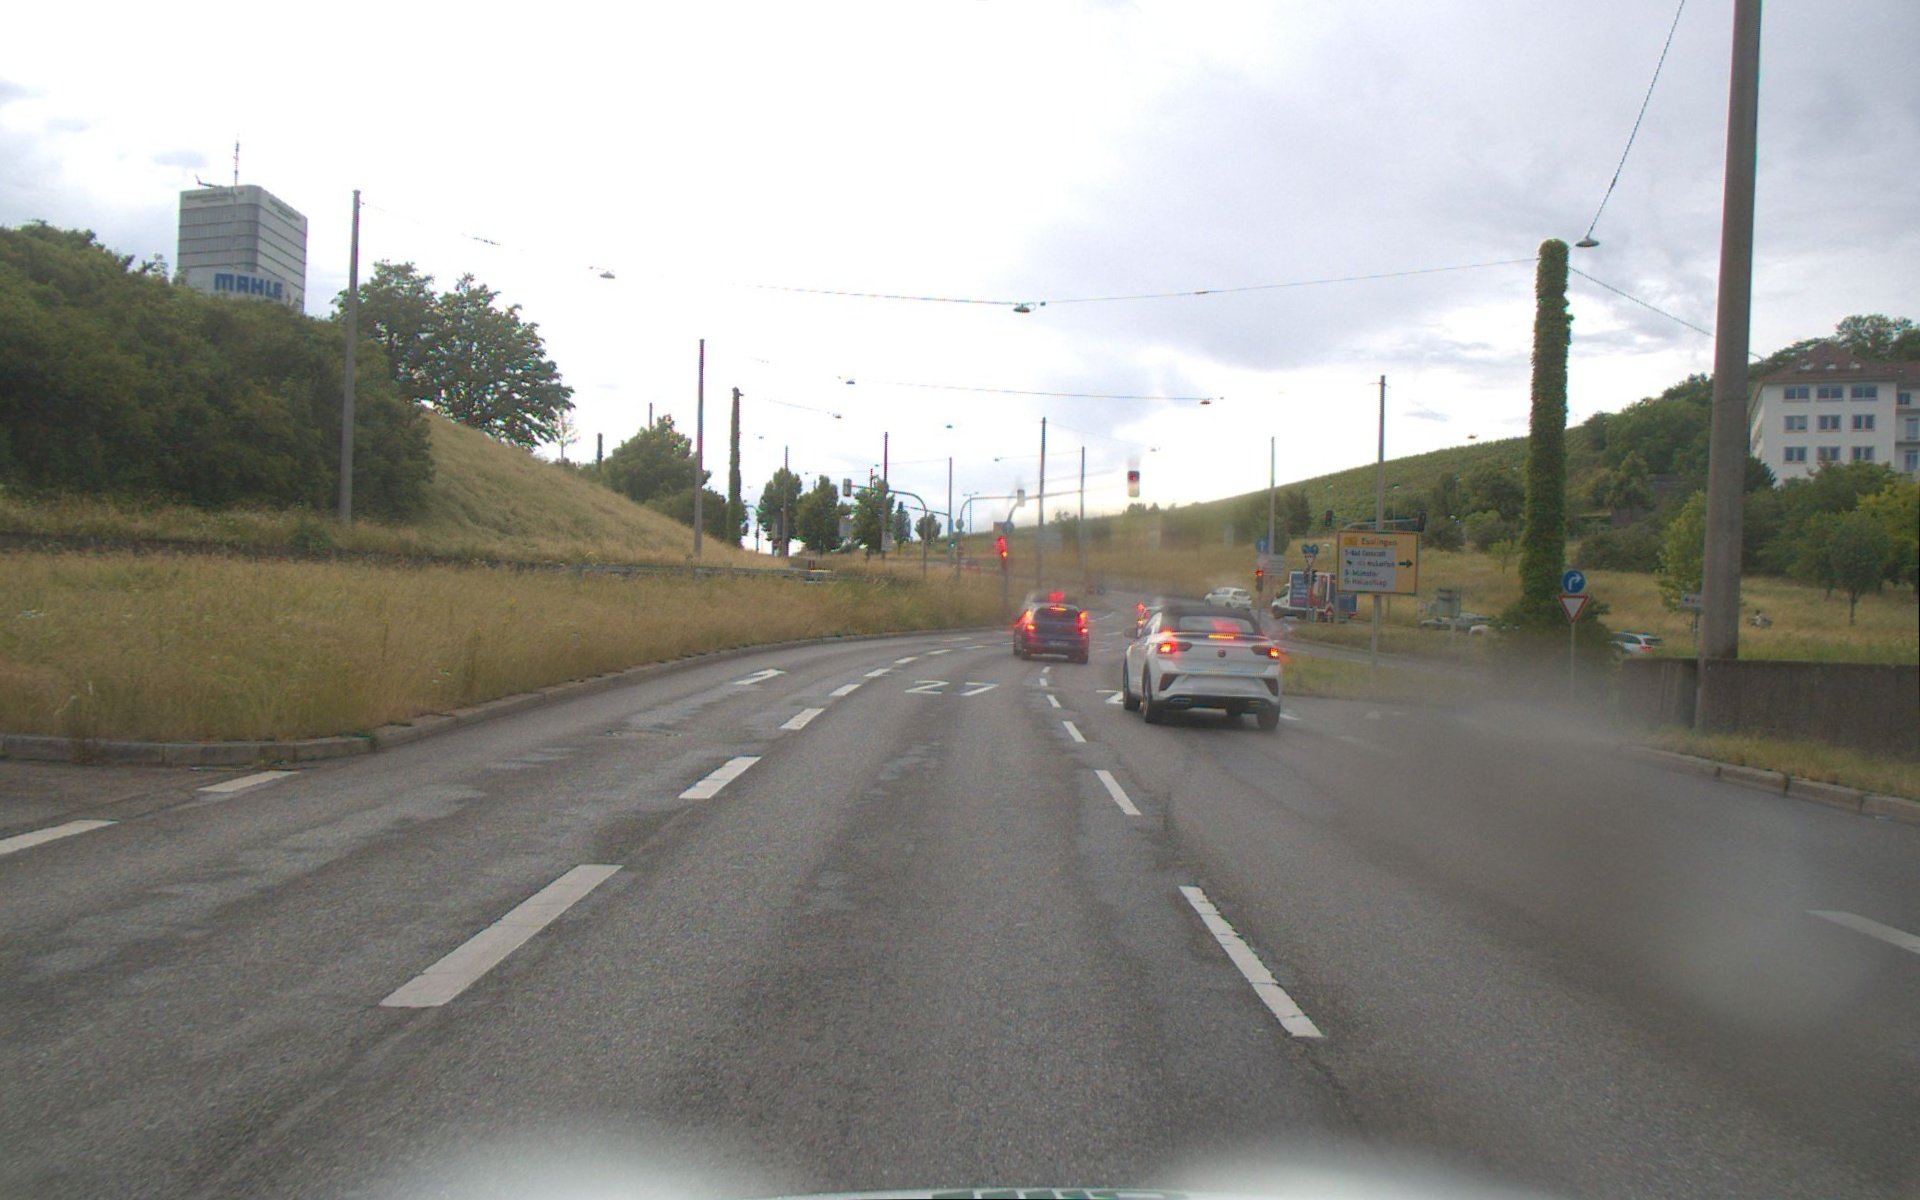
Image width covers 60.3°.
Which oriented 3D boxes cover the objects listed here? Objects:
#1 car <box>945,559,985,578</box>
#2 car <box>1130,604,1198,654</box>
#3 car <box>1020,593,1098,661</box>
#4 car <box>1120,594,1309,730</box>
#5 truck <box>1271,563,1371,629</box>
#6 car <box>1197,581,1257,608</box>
[{"bbox_3d":[0.417,-2.866,150.420,1.967,1.741,4.530,0,1,-23],"label":"car"},{"bbox_3d":[7.182,1.002,58.026,1.737,1.545,3.727,4,0,16],"label":"car"},{"bbox_3d":[2.656,0.703,43.499,1.886,1.627,4.063,2,-1,5],"label":"car"},{"bbox_3d":[3.390,0.792,22.820,1.955,1.606,4.125,3,0,1],"label":"car"},{"bbox_3d":[21.531,-0.281,98.980,2.808,3.587,6.196,0,3,-22],"label":"truck"},{"bbox_3d":[17.561,-0.365,109.017,1.964,1.526,4.538,1,3,-20],"label":"car"}]
